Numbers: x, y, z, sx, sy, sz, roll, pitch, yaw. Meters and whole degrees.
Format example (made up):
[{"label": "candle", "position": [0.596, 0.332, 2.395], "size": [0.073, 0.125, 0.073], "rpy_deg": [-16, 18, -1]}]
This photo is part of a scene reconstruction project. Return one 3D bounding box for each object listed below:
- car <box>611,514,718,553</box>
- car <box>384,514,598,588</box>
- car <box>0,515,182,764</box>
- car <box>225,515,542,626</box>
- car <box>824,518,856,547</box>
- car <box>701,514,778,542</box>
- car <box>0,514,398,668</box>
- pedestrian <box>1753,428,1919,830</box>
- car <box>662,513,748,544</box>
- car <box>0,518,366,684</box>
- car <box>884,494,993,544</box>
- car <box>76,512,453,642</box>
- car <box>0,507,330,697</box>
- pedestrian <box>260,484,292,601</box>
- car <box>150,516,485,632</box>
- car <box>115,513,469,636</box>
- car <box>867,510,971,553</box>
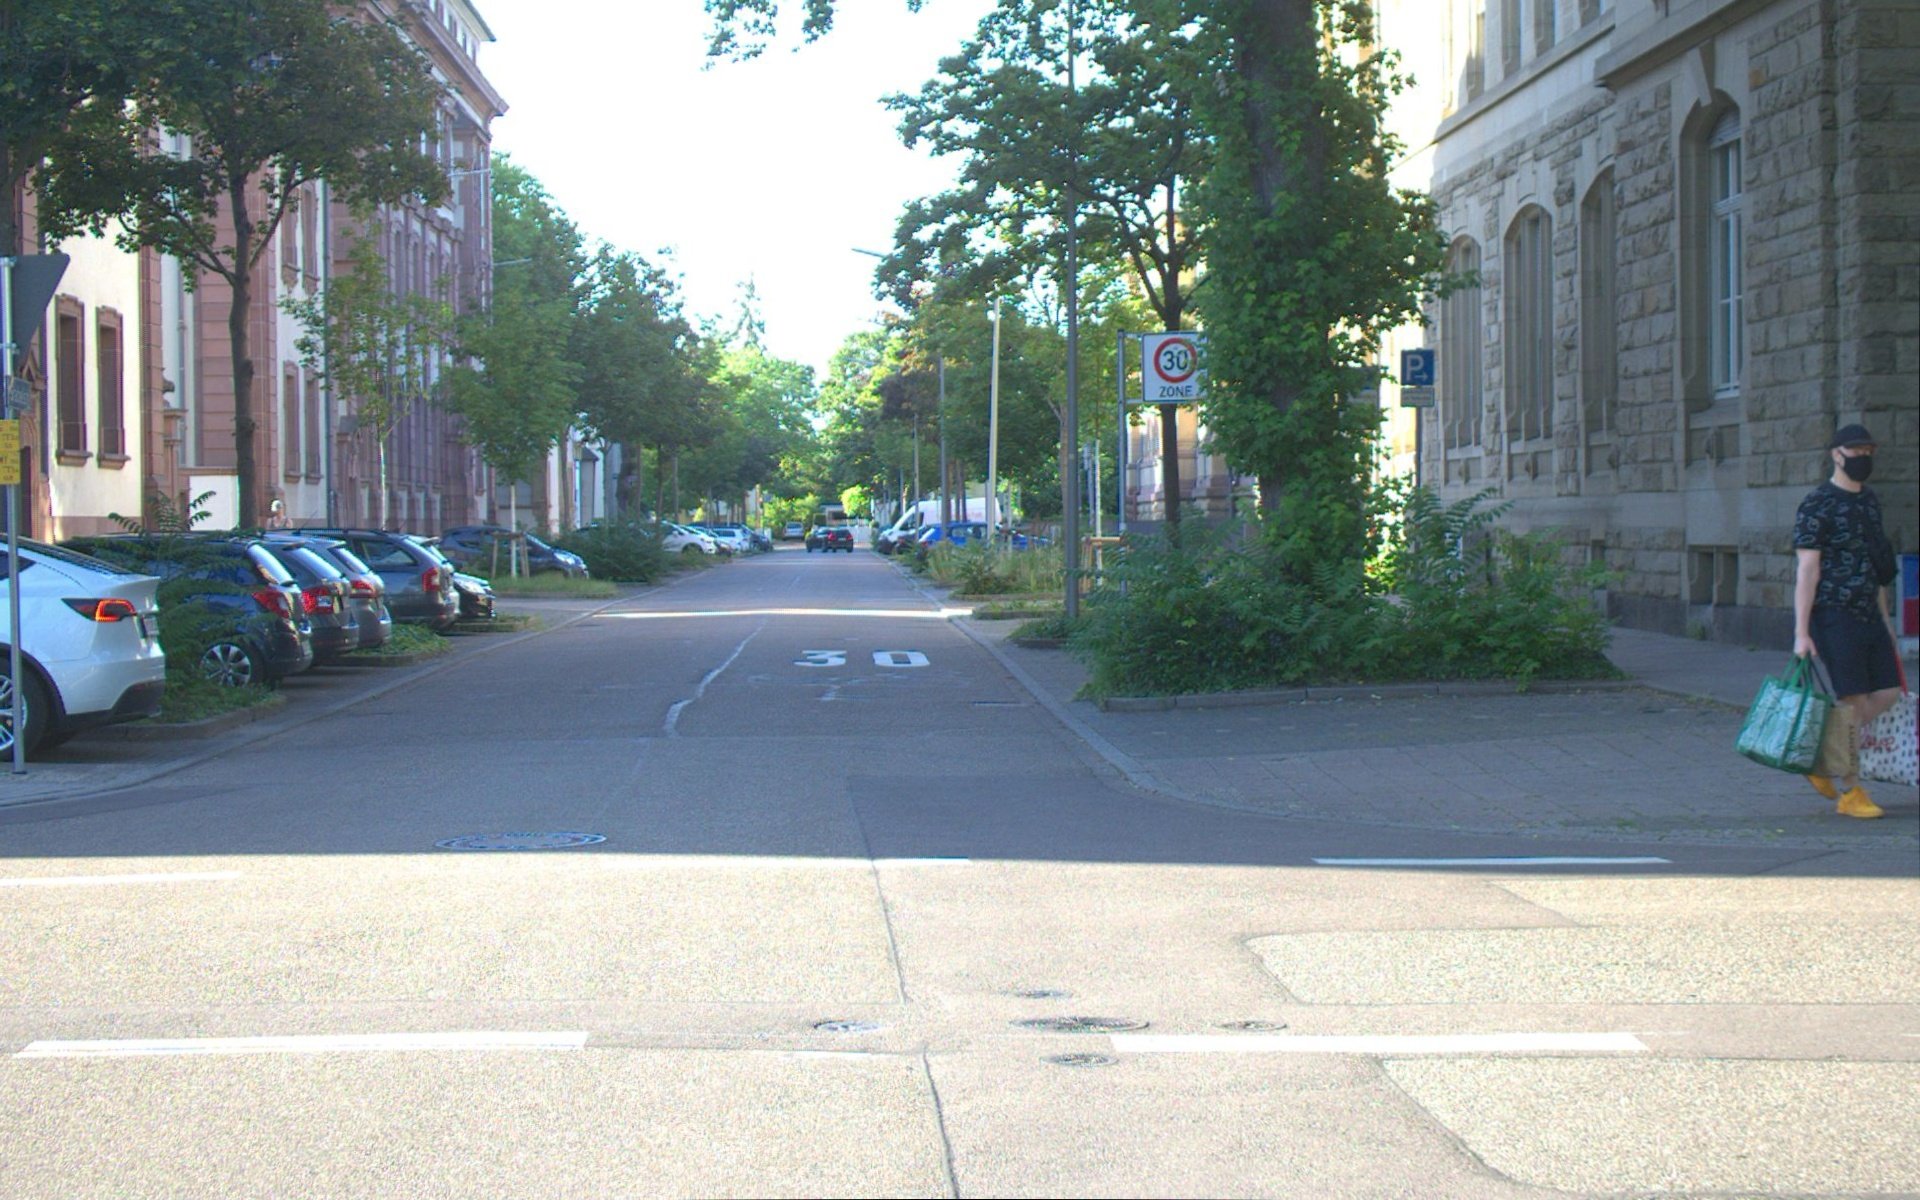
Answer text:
[{"label": "car", "position": [-11.633, -2.636, 135.683], "size": [4.089, 1.488, 1.933], "rpy_deg": [0, 1, -1]}, {"label": "car", "position": [-10.101, -1.071, 74.310], "size": [4.378, 1.491, 1.967], "rpy_deg": [1, 1, -2]}, {"label": "car", "position": [-7.823, 0.184, 23.297], "size": [4.705, 1.584, 1.967], "rpy_deg": [2, 1, -5]}, {"label": "car", "position": [-8.352, -0.444, 50.122], "size": [4.378, 1.491, 1.967], "rpy_deg": [1, 1, -5]}, {"label": "car", "position": [-7.312, -4.133, 209.396], "size": [1.743, 1.700, 3.674], "rpy_deg": [-1, 2, -5]}, {"label": "car", "position": [-12.001, -3.930, 187.083], "size": [4.089, 1.488, 1.933], "rpy_deg": [0, 1, -1]}, {"label": "car", "position": [-8.206, -0.117, 36.127], "size": [4.378, 1.491, 1.967], "rpy_deg": [1, 1, -5]}, {"label": "pedestrian", "position": [4.360, 0.130, 16.788], "size": [0.720, 1.912, 0.614], "rpy_deg": [-1, 1, -25]}, {"label": "car", "position": [-12.438, -3.485, 168.137], "size": [4.089, 1.488, 1.933], "rpy_deg": [0, 1, -1]}, {"label": "car", "position": [-8.074, -0.022, 33.349], "size": [4.378, 1.491, 1.967], "rpy_deg": [1, 1, -5]}, {"label": "car", "position": [-0.936, -3.521, 149.323], "size": [4.704, 2.096, 2.000], "rpy_deg": [0, 1, -1]}, {"label": "car", "position": [-8.595, -0.300, 42.816], "size": [4.378, 1.491, 1.967], "rpy_deg": [1, 1, -5]}, {"label": "car", "position": [-7.907, -0.017, 30.470], "size": [4.378, 1.579, 1.967], "rpy_deg": [1, 1, -5]}, {"label": "pedestrian", "position": [-11.765, -0.994, 59.135], "size": [0.435, 2.007, 0.463], "rpy_deg": [0, 1, -1]}, {"label": "car", "position": [-8.893, -0.373, 47.900], "size": [4.378, 1.491, 1.967], "rpy_deg": [1, 1, -5]}, {"label": "car", "position": [-8.759, -0.353, 45.409], "size": [4.378, 1.491, 1.967], "rpy_deg": [1, 1, -5]}, {"label": "car", "position": [-1.614, -2.664, 133.735], "size": [3.986, 1.612, 1.789], "rpy_deg": [0, 1, -2]}]
